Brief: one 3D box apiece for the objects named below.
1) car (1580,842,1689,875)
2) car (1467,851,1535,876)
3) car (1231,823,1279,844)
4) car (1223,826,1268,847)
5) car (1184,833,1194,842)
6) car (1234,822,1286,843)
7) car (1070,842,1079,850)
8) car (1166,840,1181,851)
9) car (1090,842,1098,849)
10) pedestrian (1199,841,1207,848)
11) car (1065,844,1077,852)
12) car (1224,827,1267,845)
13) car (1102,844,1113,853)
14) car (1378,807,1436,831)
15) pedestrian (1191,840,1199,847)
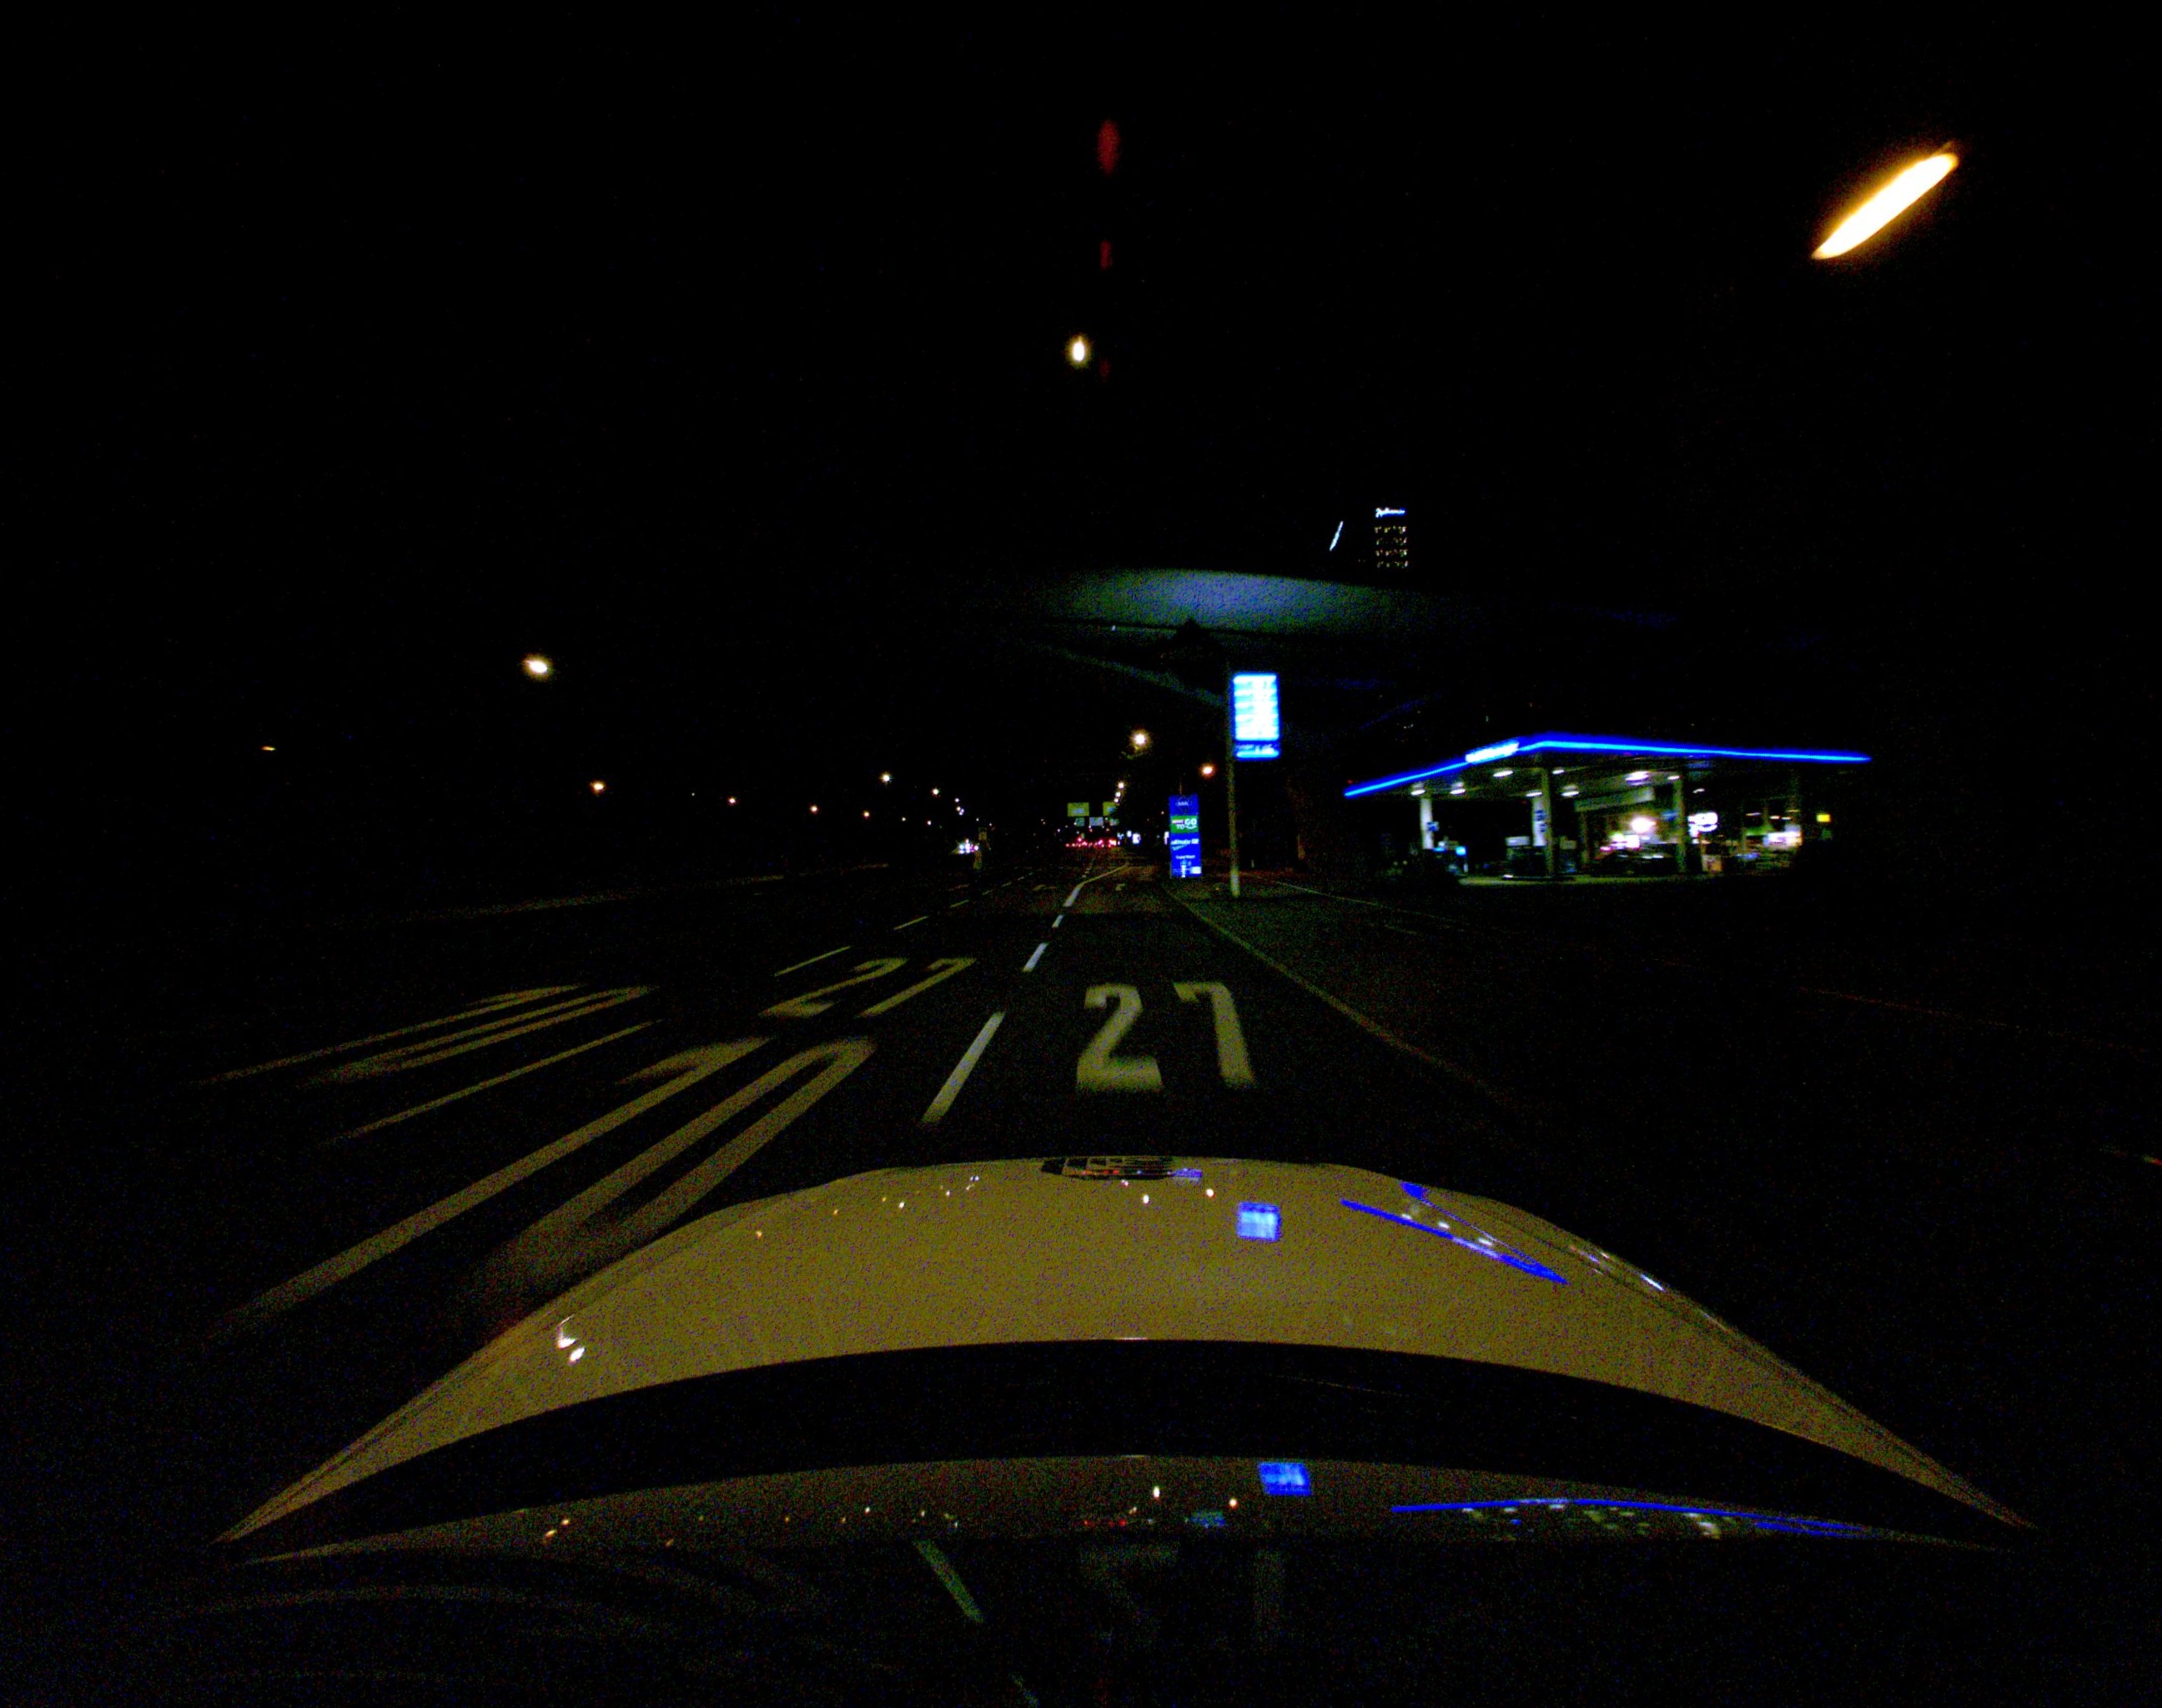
[{"bbox_3d":[25.094,0.222,37.141,1.922,1.363,4.331,-1,-1,-2],"label":"car"},{"bbox_3d":[24.496,0.542,47.671,1.650,1.358,4.063,-1,-1,-4],"label":"car"},{"bbox_3d":[15.657,-1.857,73.468,3.971,1.571,1.740,-4,-1,3],"label":"car"},{"bbox_3d":[15.387,-1.656,76.209,3.735,1.587,1.780,-4,-1,0],"label":"car"},{"bbox_3d":[20.650,-3.164,155.875,1.882,1.511,3.644,0,-1,8],"label":"car"},{"bbox_3d":[15.622,-1.858,71.107,4.102,1.522,1.824,-3,-2,3],"label":"car"},{"bbox_3d":[-1.573,-1.882,196.574,1.779,1.711,3.995,0,-1,-4],"label":"car"},{"bbox_3d":[16.958,-1.538,148.770,1.977,1.945,4.019,0,-1,19],"label":"car"},{"bbox_3d":[3.556,-2.231,216.792,1.996,1.552,4.299,0,-1,4],"label":"car"},{"bbox_3d":[18.901,-1.498,126.588,0.999,1.008,0.768,0,-1,-14],"label":"pedestrian"},{"bbox_3d":[-2.195,-1.263,172.514,1.967,1.711,3.988,0,-1,-8],"label":"car"},{"bbox_3d":[15.818,-1.696,78.476,3.713,1.489,1.742,-3,-1,-1],"label":"car"},{"bbox_3d":[5.320,-1.136,163.327,1.959,1.711,4.004,0,-1,4],"label":"car"},{"bbox_3d":[30.873,-3.272,77.167,4.564,1.910,1.999,-3,-1,-2],"label":"car"},{"bbox_3d":[17.733,-1.591,126.638,0.902,1.038,0.776,-2,0,45],"label":"pedestrian"}]
